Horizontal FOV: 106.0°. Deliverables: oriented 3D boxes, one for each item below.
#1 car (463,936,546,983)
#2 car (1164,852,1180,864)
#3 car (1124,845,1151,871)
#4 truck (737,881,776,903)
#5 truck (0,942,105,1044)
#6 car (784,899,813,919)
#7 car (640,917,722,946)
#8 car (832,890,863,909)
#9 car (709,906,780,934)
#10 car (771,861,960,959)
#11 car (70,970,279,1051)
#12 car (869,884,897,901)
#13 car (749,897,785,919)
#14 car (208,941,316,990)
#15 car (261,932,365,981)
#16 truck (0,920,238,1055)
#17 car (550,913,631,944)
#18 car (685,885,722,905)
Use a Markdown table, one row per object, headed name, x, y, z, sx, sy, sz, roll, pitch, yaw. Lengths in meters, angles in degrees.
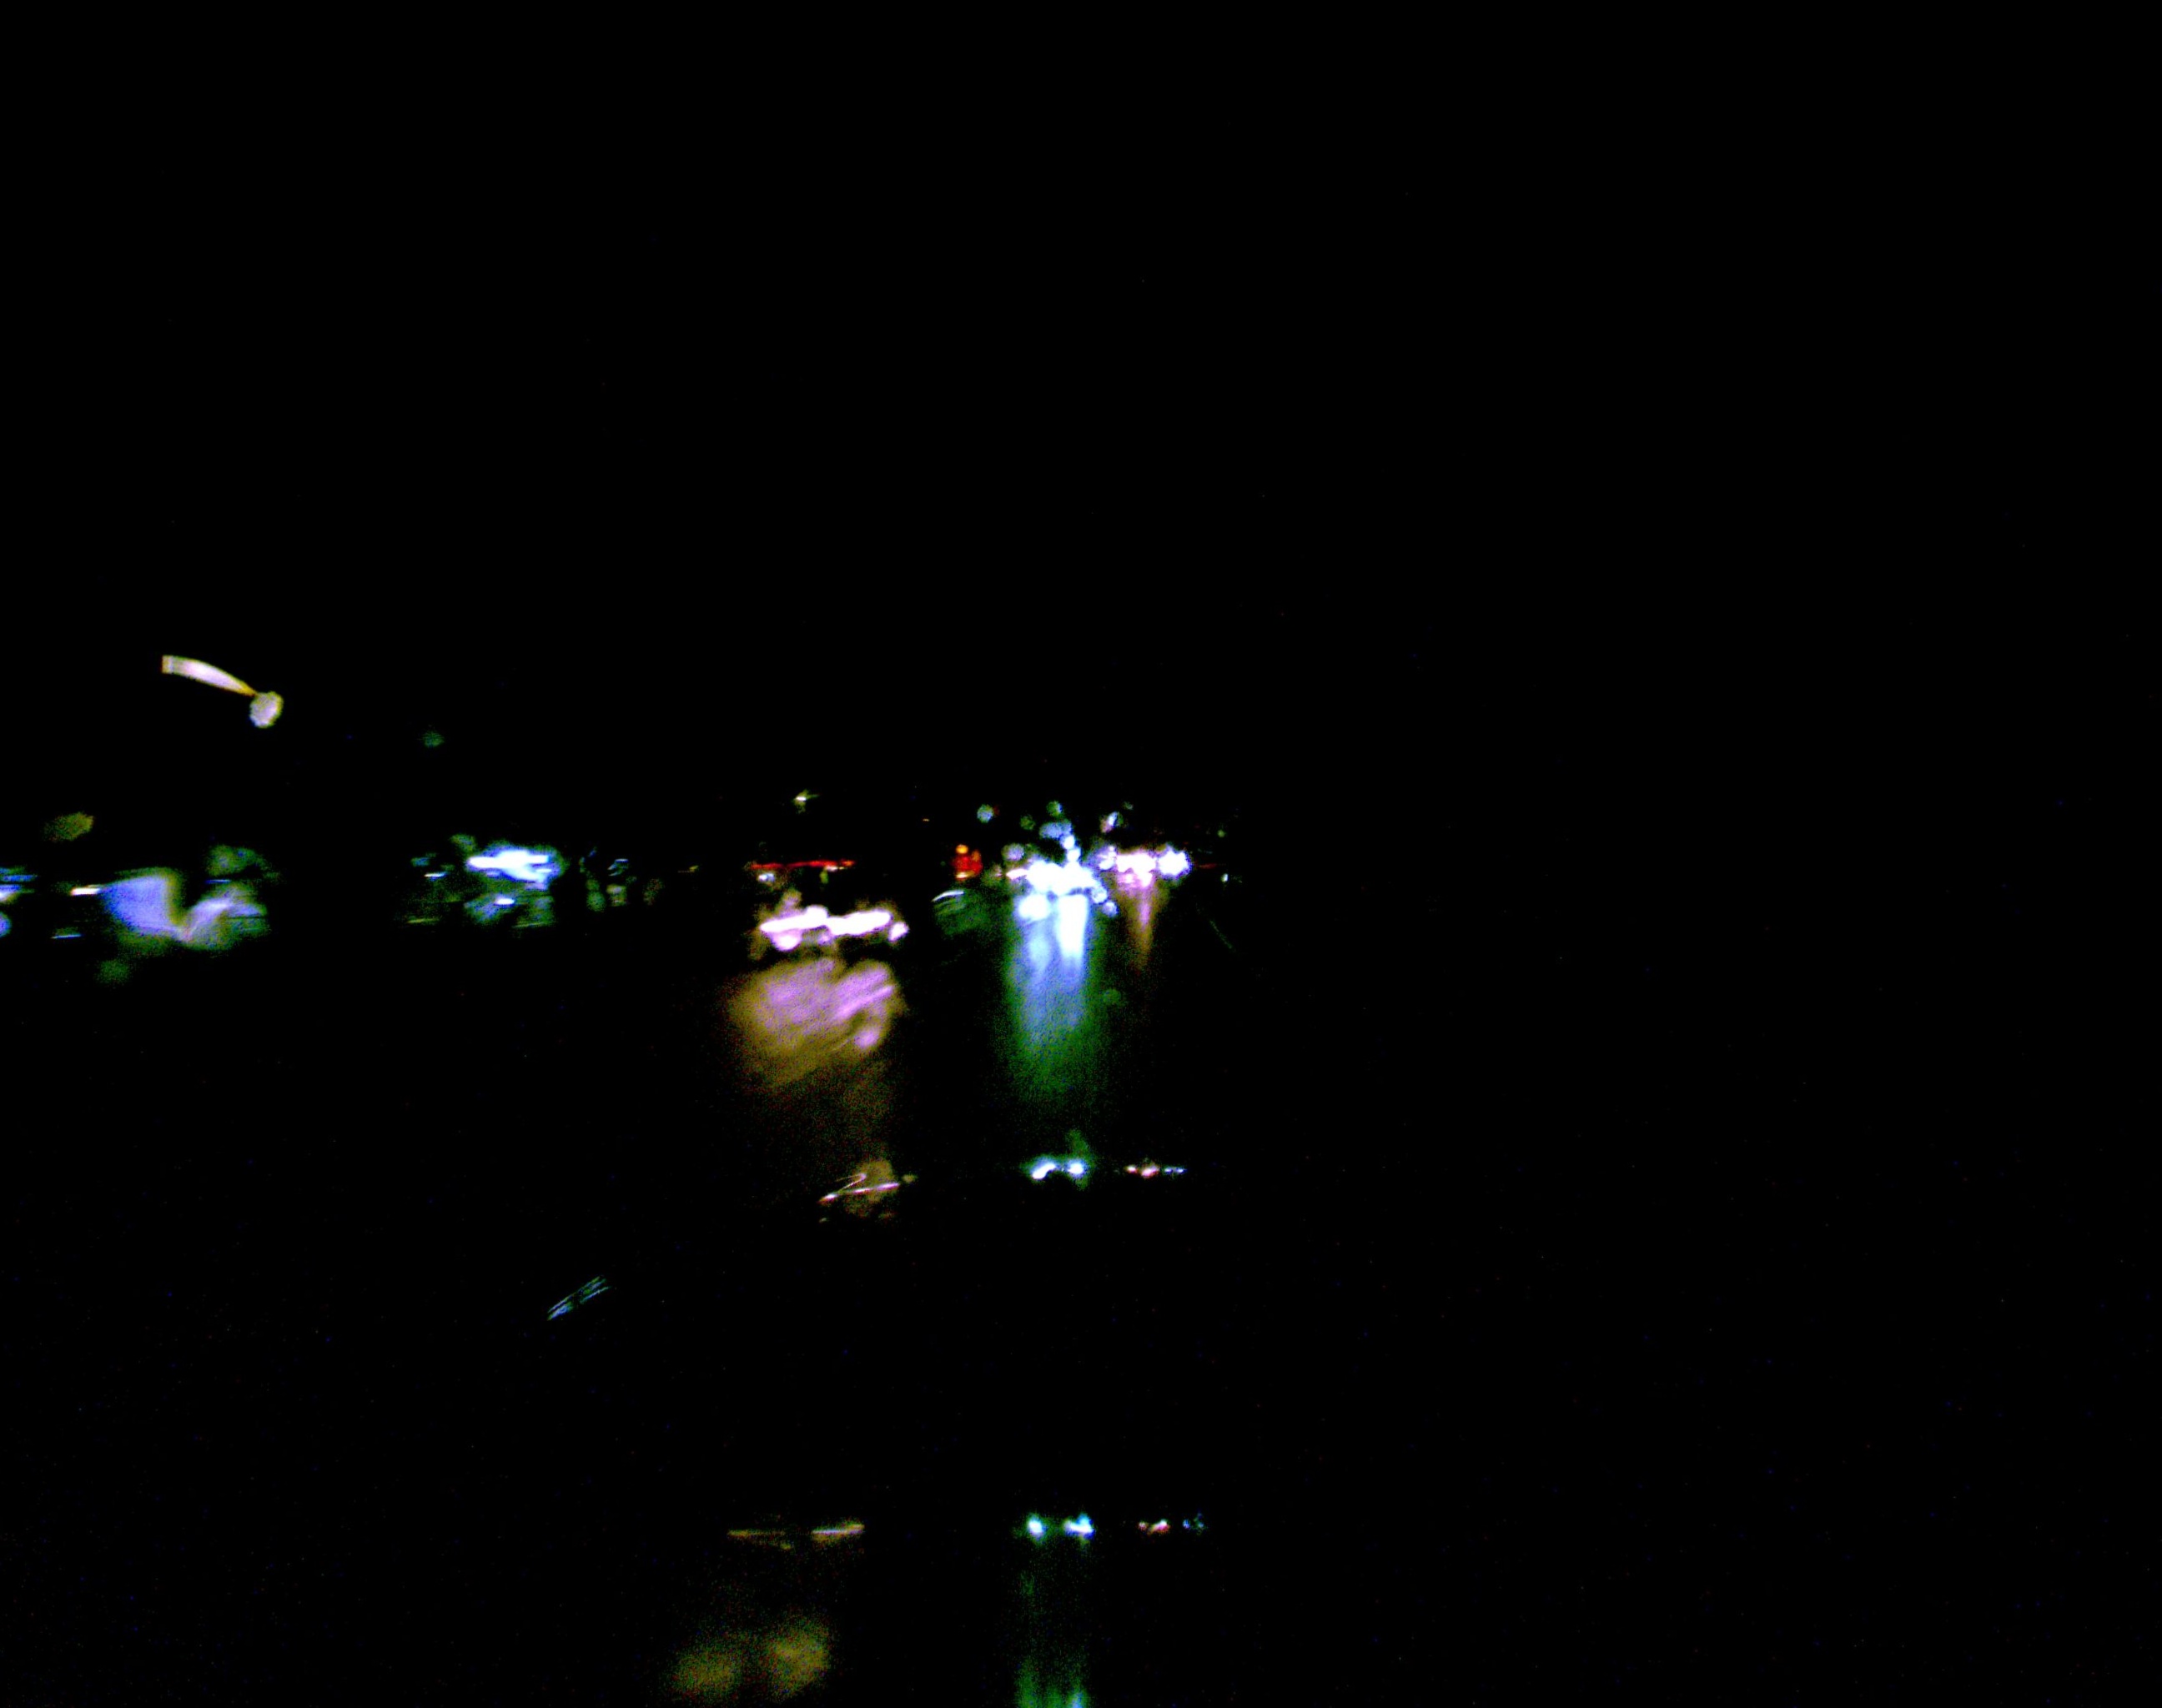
| name | x | y | z | sx | sy | sz | roll | pitch | yaw |
| --- | --- | --- | --- | --- | --- | --- | --- | --- | --- |
| car | -30.168 | 5.484 | 42.724 | 1.712 | 1.907 | 3.721 | -1 | 0 | -1 |
| car | 10.171 | 0.457 | 90.690 | 1.581 | 1.379 | 4.335 | 0 | -1 | 9 |
| car | 4.675 | 0.300 | 66.976 | 1.881 | 2.002 | 4.891 | 0 | 0 | 8 |
| truck | -41.048 | 4.775 | 103.206 | 2.312 | 2.463 | 6.492 | -1 | -1 | 1 |
| truck | -36.587 | 4.776 | 25.832 | 2.426 | 3.097 | 7.053 | -6 | -2 | 1 |
| car | -25.791 | 4.994 | 74.237 | 1.822 | 1.567 | 4.169 | -5 | -1 | -27 |
| car | -24.106 | 4.683 | 49.129 | 3.967 | 1.201 | 1.850 | -7 | -2 | 6 |
| car | -23.501 | 4.585 | 82.065 | 1.739 | 1.618 | 3.515 | -5 | -1 | 3 |
| car | -23.483 | 4.588 | 56.899 | 3.967 | 1.455 | 1.915 | -7 | -2 | 6 |
| car | -3.463 | 0.847 | 13.967 | 1.625 | 1.354 | 4.151 | -1 | 0 | 8 |
| car | -28.771 | 4.905 | 26.103 | 1.715 | 1.714 | 4.286 | -6 | -2 | 1 |
| car | -22.714 | 4.430 | 93.704 | 1.763 | 1.596 | 4.005 | -7 | -1 | 5 |
| car | -26.494 | 4.540 | 68.831 | 1.995 | 1.567 | 4.833 | -5 | -1 | -12 |
| car | -42.975 | 5.811 | 42.878 | 1.729 | 2.013 | 3.996 | -1 | 0 | -3 |
| car | -40.049 | 5.292 | 42.606 | 1.729 | 2.013 | 3.996 | -1 | 0 | -3 |
| truck | -32.109 | 4.196 | 26.048 | 2.457 | 3.480 | 7.056 | -6 | -2 | 3 |
| car | -30.658 | 4.650 | 51.073 | 3.999 | 1.640 | 1.987 | -1 | 0 | -19 |
| car | -47.126 | 5.118 | 101.680 | 1.982 | 2.265 | 4.470 | -1 | -1 | 9 |
